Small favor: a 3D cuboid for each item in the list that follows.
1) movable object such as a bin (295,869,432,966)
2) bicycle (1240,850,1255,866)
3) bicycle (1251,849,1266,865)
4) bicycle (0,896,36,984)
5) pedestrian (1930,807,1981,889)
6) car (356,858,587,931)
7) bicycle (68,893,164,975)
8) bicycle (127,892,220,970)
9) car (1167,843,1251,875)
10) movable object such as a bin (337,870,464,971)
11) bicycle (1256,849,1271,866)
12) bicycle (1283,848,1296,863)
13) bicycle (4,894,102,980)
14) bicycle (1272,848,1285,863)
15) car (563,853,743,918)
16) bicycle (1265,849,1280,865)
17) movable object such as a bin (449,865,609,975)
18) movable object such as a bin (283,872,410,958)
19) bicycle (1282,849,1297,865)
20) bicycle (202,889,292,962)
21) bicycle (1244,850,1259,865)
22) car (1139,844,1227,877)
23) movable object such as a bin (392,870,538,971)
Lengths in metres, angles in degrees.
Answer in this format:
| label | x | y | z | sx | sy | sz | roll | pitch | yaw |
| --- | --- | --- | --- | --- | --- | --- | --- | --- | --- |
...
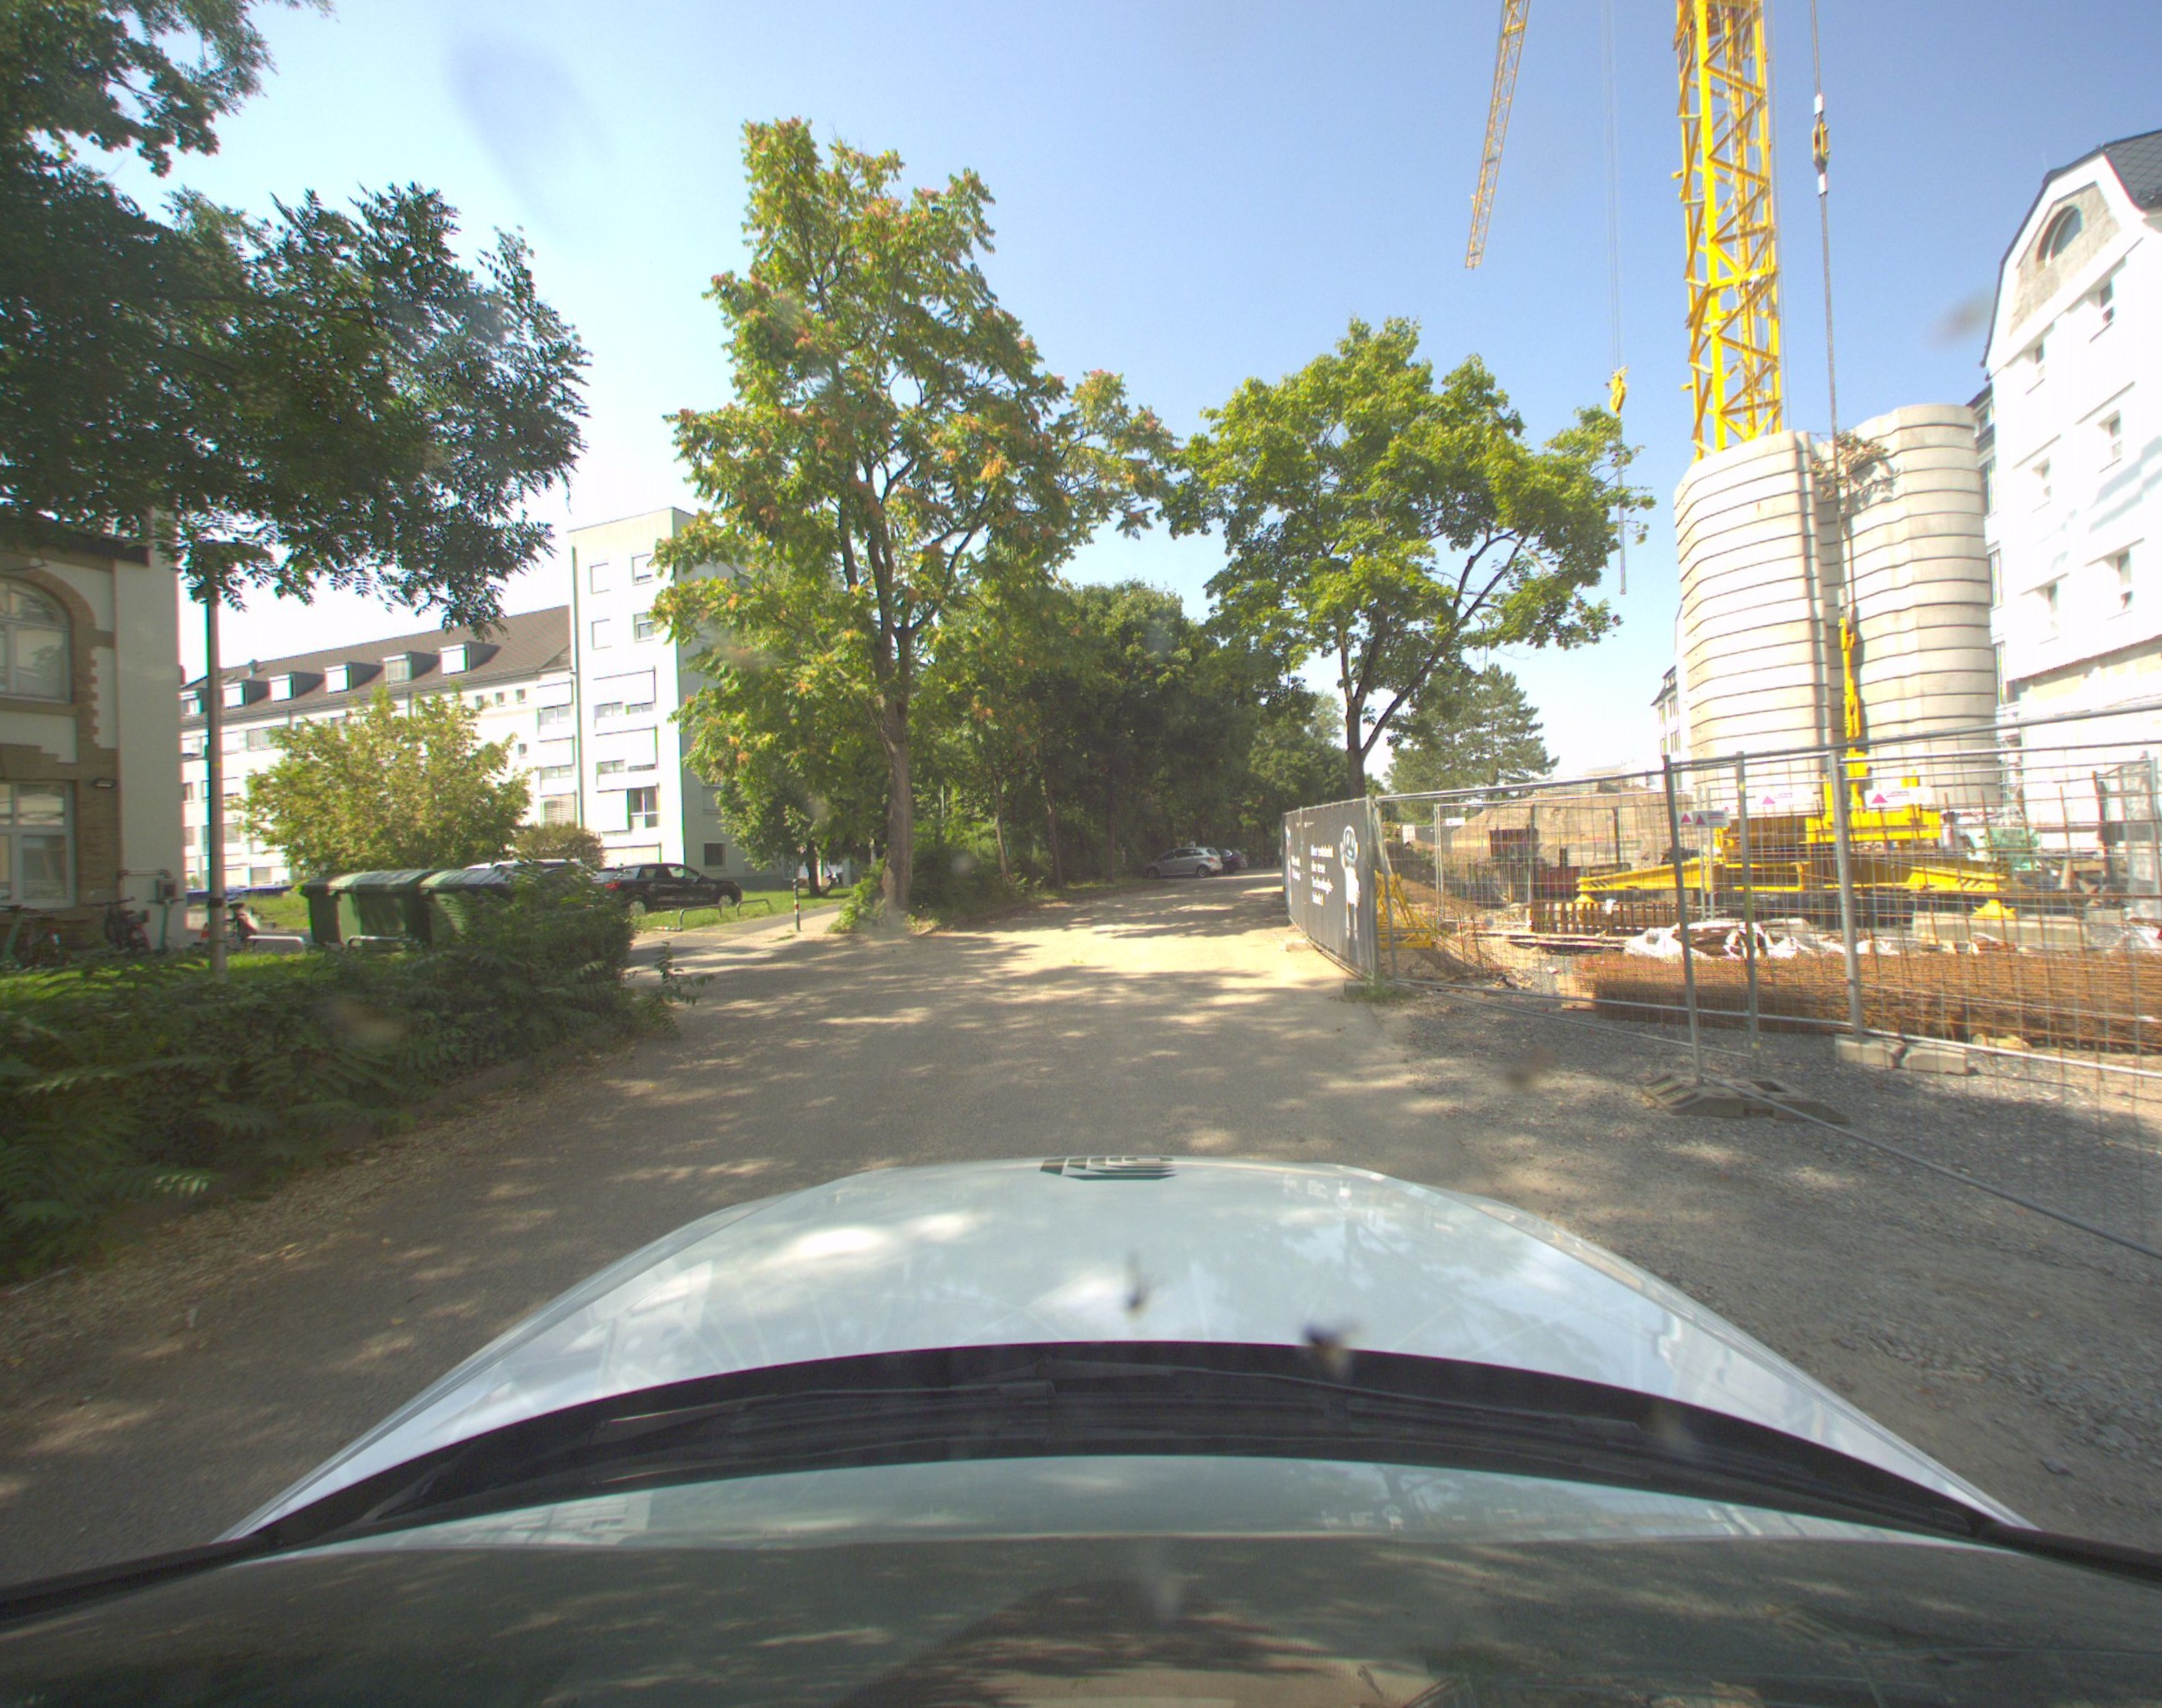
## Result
| label | x | y | z | sx | sy | sz | roll | pitch | yaw |
| --- | --- | --- | --- | --- | --- | --- | --- | --- | --- |
| movable object such as a bin | -11.943 | 1.028 | 13.592 | 1.193 | 1.495 | 1.256 | -1 | 0 | 19 |
| bicycle | 11.827 | 0.276 | 57.846 | 0.494 | 1.107 | 1.811 | -2 | 0 | 30 |
| bicycle | 13.020 | 0.229 | 59.654 | 0.494 | 1.107 | 1.811 | -2 | 0 | 30 |
| bicycle | -17.296 | 1.363 | 12.856 | 2.146 | 1.302 | 0.613 | -3 | -1 | 28 |
| pedestrian | 16.745 | -0.106 | 15.604 | 0.517 | 1.528 | 0.498 | -2 | 0 | 33 |
| car | -18.713 | 1.173 | 25.325 | 2.470 | 1.881 | 5.116 | -2 | 0 | 28 |
| bicycle | -16.765 | 1.379 | 14.137 | 2.146 | 1.302 | 0.613 | -3 | -1 | 28 |
| bicycle | -16.448 | 1.384 | 14.749 | 2.146 | 1.302 | 0.613 | -3 | -1 | 28 |
| car | 7.051 | 0.268 | 44.992 | 4.109 | 1.612 | 2.012 | -1 | 0 | 26 |
| movable object such as a bin | -10.727 | 1.011 | 12.867 | 1.089 | 1.481 | 1.106 | -1 | 0 | 19 |
| bicycle | 12.905 | 0.255 | 57.615 | 0.494 | 1.107 | 1.811 | -2 | 0 | 30 |
| bicycle | 15.879 | 0.128 | 62.072 | 0.494 | 1.107 | 1.811 | -2 | 0 | 30 |
| bicycle | -17.072 | 1.357 | 13.515 | 2.146 | 1.302 | 0.613 | -3 | -1 | 28 |
| bicycle | 15.661 | 0.114 | 64.684 | 0.494 | 1.107 | 1.811 | -2 | 0 | 30 |
| car | -11.406 | 0.795 | 21.968 | 1.685 | 1.528 | 3.937 | -2 | 0 | 31 |
| bicycle | 13.418 | 0.214 | 56.974 | 0.494 | 1.107 | 1.811 | -2 | 0 | 30 |
| movable object such as a bin | -8.074 | 0.934 | 11.980 | 1.360 | 1.493 | 1.340 | -1 | 0 | 11 |
| movable object such as a bin | -13.276 | 1.079 | 14.753 | 1.193 | 1.444 | 1.256 | -1 | 0 | 19 |
| bicycle | 14.310 | 0.195 | 55.945 | 0.494 | 1.107 | 1.811 | -2 | 0 | 30 |
| bicycle | -16.087 | 1.373 | 15.689 | 2.146 | 1.302 | 0.613 | -3 | -1 | 28 |
| bicycle | 12.529 | 0.255 | 59.871 | 0.494 | 1.107 | 1.811 | -2 | 0 | 30 |
| car | 5.354 | 0.331 | 42.885 | 4.109 | 1.612 | 2.012 | -1 | 0 | 26 |
| movable object such as a bin | -9.512 | 1.000 | 12.622 | 1.317 | 1.432 | 1.256 | -1 | 0 | 18 |
